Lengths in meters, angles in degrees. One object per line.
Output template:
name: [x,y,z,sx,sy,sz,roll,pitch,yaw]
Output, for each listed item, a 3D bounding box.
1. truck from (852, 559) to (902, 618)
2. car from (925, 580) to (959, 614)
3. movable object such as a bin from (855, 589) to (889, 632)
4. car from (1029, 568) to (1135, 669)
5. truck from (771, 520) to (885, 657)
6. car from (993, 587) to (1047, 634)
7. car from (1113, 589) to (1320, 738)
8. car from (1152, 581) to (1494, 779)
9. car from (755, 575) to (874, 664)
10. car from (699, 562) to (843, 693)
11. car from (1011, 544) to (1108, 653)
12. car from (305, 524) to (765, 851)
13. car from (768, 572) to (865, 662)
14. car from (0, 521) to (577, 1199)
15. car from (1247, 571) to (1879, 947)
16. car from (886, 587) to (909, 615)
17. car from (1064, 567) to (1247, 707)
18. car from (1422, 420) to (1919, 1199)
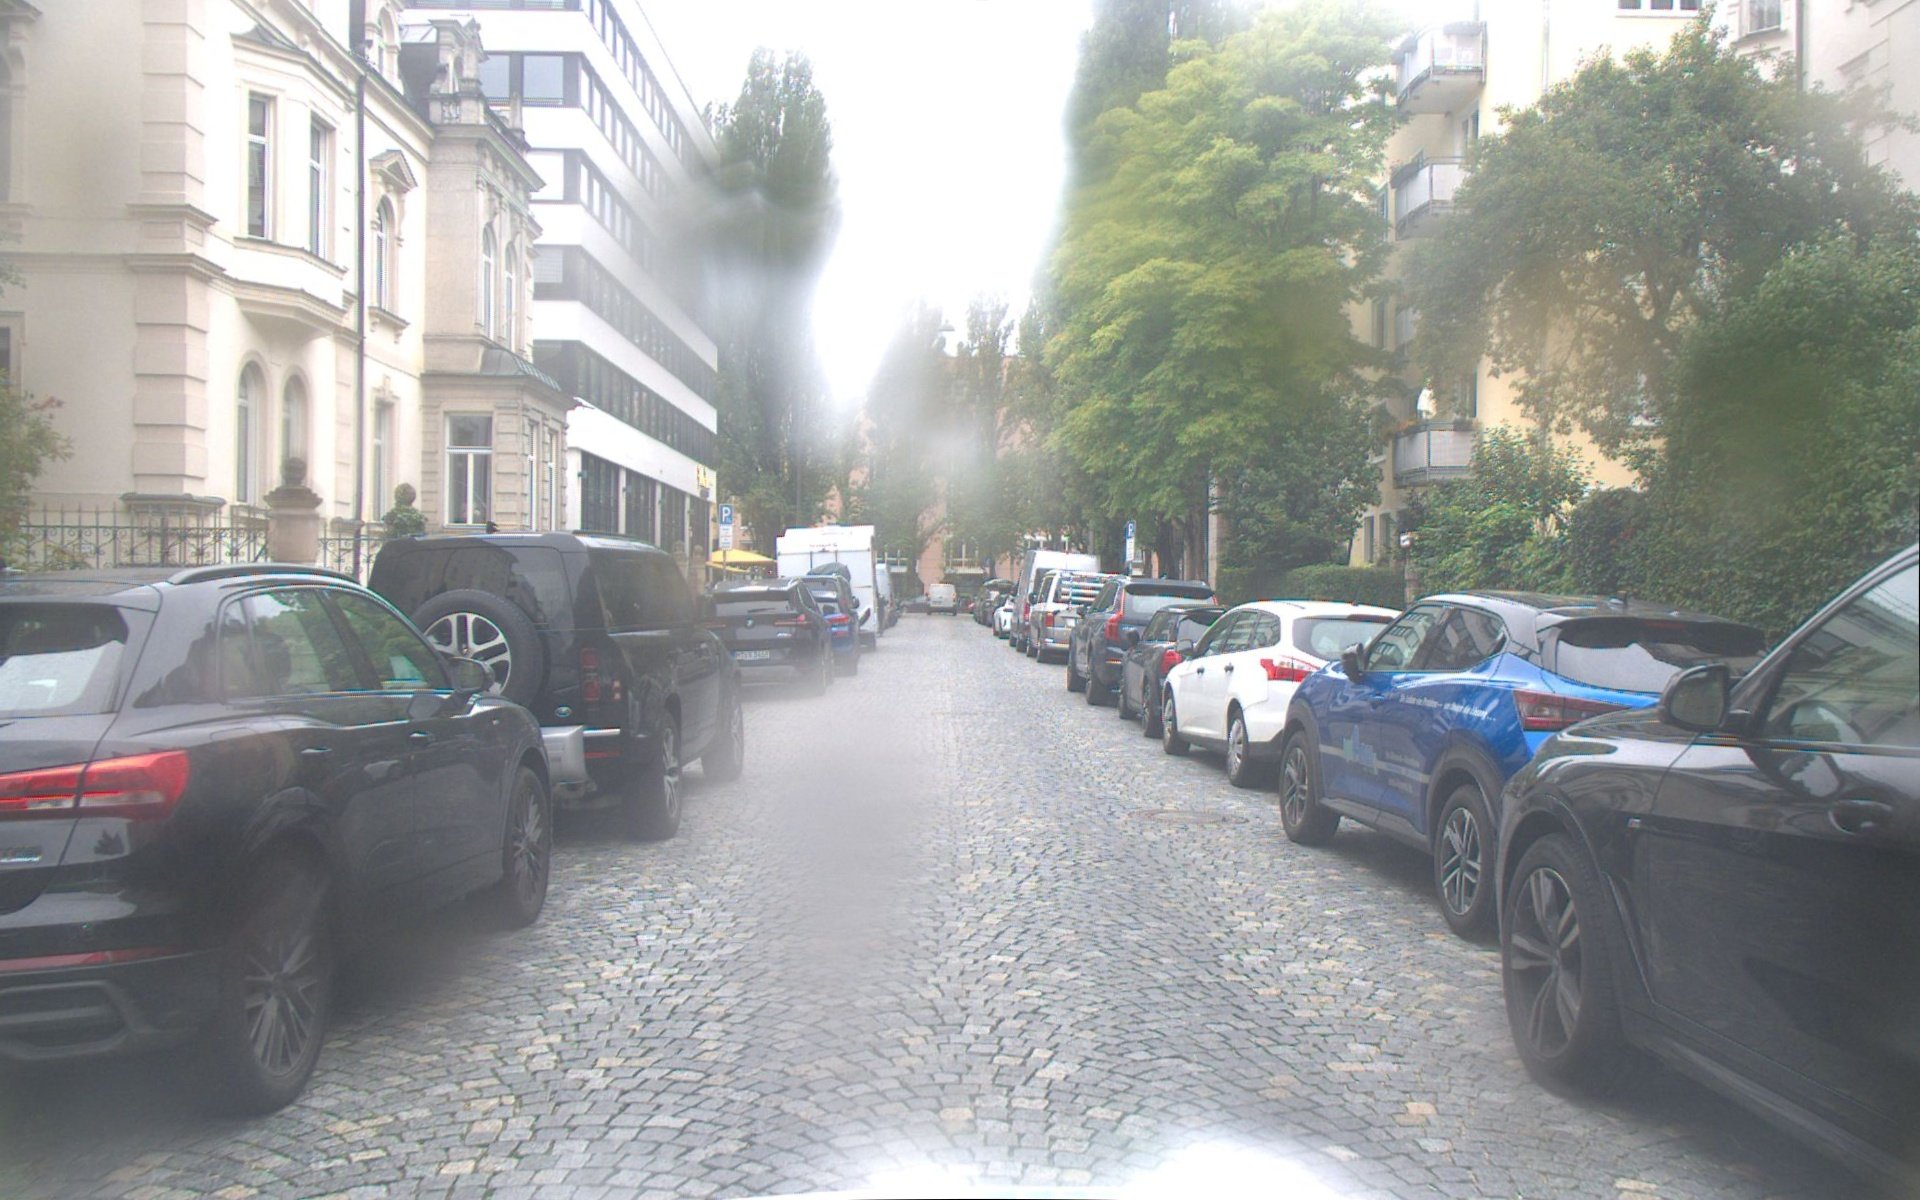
truck: [-3.470,-0.460,70.011,1.953,2.388,4.067,1,0,-1]
car: [-1.039,-0.162,99.126,1.955,1.970,4.000,1,0,0]
movable object such as a bin: [-2.916,0.355,54.834,1.042,1.387,1.289,1,0,-1]
car: [2.646,0.390,36.909,1.764,1.983,4.858,3,0,-2]
truck: [-3.175,-0.304,41.208,2.458,3.084,6.382,-1,1,-2]
car: [1.961,0.346,55.212,1.567,1.512,3.478,1,0,-2]
car: [2.859,0.669,19.218,1.649,1.478,3.965,2,0,-2]
car: [2.967,0.603,14.518,1.739,1.454,4.387,1,0,-4]
car: [-2.566,0.336,30.018,1.901,1.485,4.056,1,0,-2]
car: [-2.714,0.386,24.647,1.738,1.748,4.389,1,0,-2]
car: [2.489,-0.072,42.672,1.857,2.468,5.609,4,1,-2]
car: [-2.618,0.461,11.464,1.942,1.768,4.722,1,1,0]
car: [-2.972,0.316,35.021,1.856,1.781,4.166,0,0,-3]
car: [-2.652,0.655,5.884,1.547,1.618,4.056,-1,0,1]
car: [2.927,0.680,9.102,1.675,1.508,4.247,3,0,-3]
car: [-3.619,0.047,95.820,1.251,1.568,3.118,1,0,-1]
car: [2.708,0.495,24.039,1.923,1.789,4.952,1,0,-2]
car: [2.843,0.501,3.632,1.837,1.702,5.487,1,0,-3]
